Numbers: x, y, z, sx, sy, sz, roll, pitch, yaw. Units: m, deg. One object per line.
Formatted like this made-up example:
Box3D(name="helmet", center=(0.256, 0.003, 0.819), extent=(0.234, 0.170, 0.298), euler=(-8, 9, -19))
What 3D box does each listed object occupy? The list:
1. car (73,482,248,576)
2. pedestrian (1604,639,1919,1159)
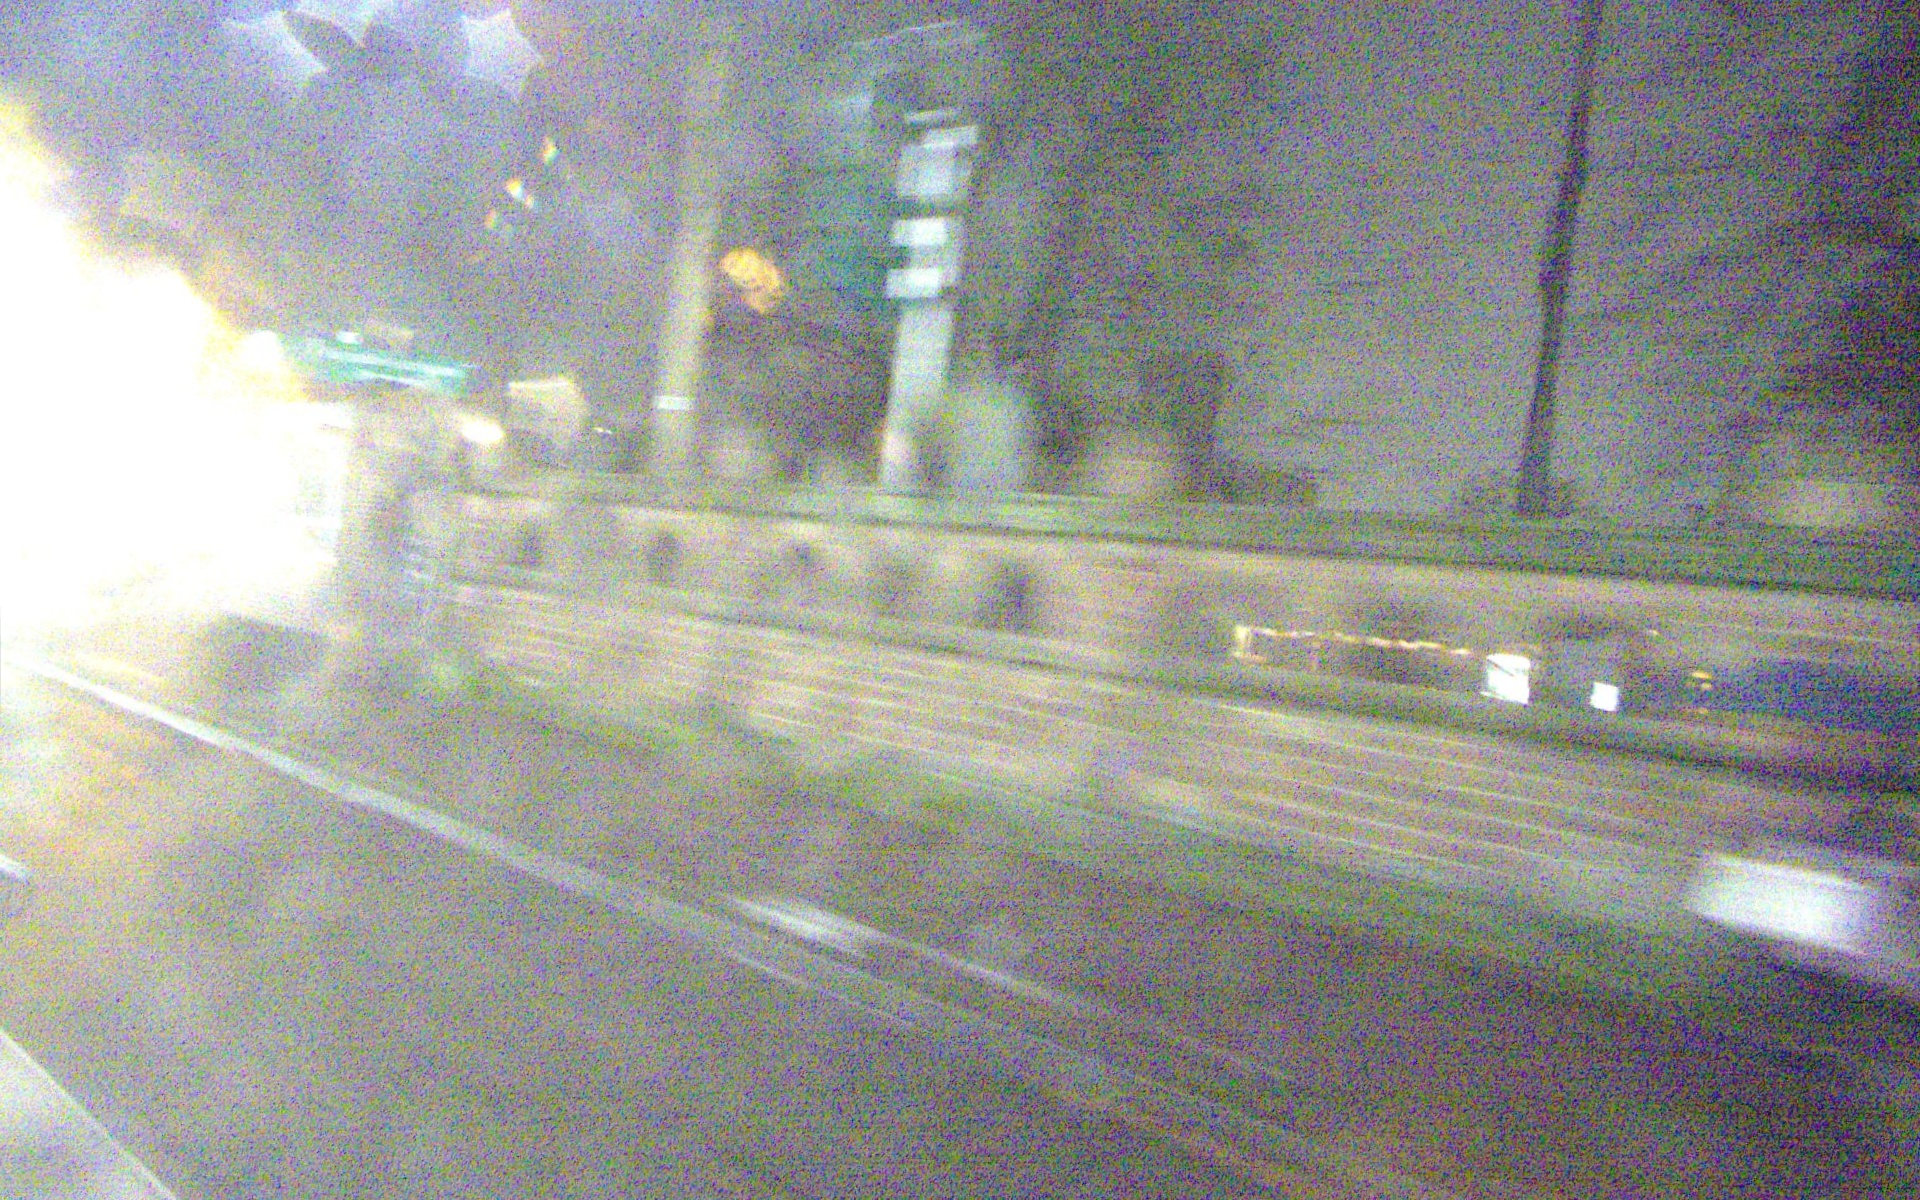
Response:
Box3D(name="car", center=(-18.469, -1.562, 23.490), extent=(2.004, 1.720, 4.100), euler=(7, -1, -23))
Box3D(name="pedestrian", center=(3.287, 1.052, 3.975), extent=(0.977, 1.686, 0.940), euler=(7, 3, 28))
